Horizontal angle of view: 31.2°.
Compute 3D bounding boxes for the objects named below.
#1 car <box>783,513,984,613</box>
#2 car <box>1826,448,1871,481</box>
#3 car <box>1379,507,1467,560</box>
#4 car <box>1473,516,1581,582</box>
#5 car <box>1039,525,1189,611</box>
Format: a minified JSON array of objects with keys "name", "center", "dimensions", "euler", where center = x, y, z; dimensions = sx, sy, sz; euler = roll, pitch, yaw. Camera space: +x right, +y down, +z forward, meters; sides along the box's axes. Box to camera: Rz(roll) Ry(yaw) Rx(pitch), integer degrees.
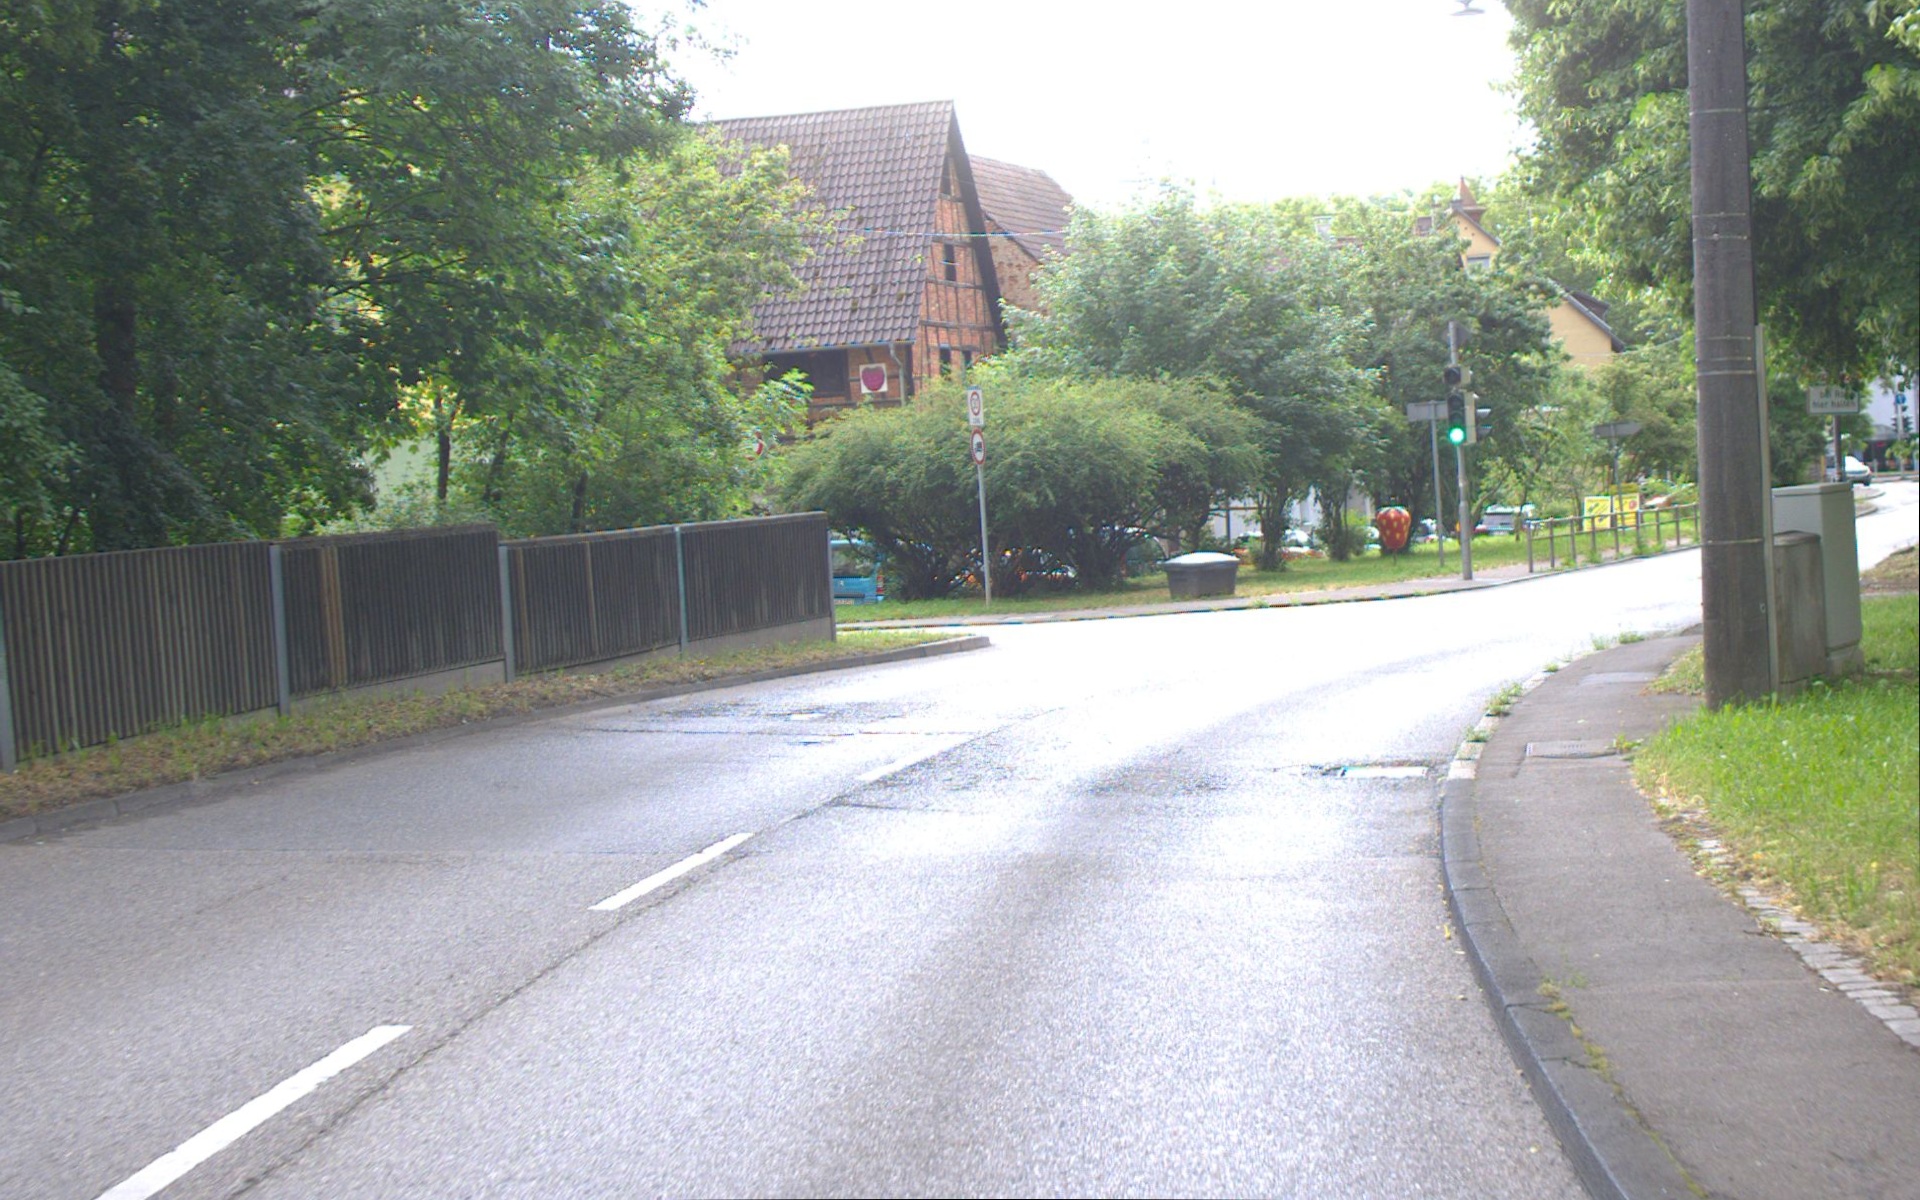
[{"name":"car","center":[-1.395,-0.722,64.717],"dimensions":[1.996,1.612,4.443],"euler":[-4,1,23]},{"name":"car","center":[45.642,-6.975,176.556],"dimensions":[1.706,1.506,3.996],"euler":[-4,1,21]},{"name":"car","center":[12.667,-1.815,94.031],"dimensions":[1.555,1.273,2.550],"euler":[-4,1,27]},{"name":"car","center":[16.831,-1.514,101.973],"dimensions":[1.923,1.689,3.995],"euler":[-4,1,27]},{"name":"car","center":[3.396,-0.718,75.074],"dimensions":[1.814,1.612,3.995],"euler":[-4,1,24]}]
